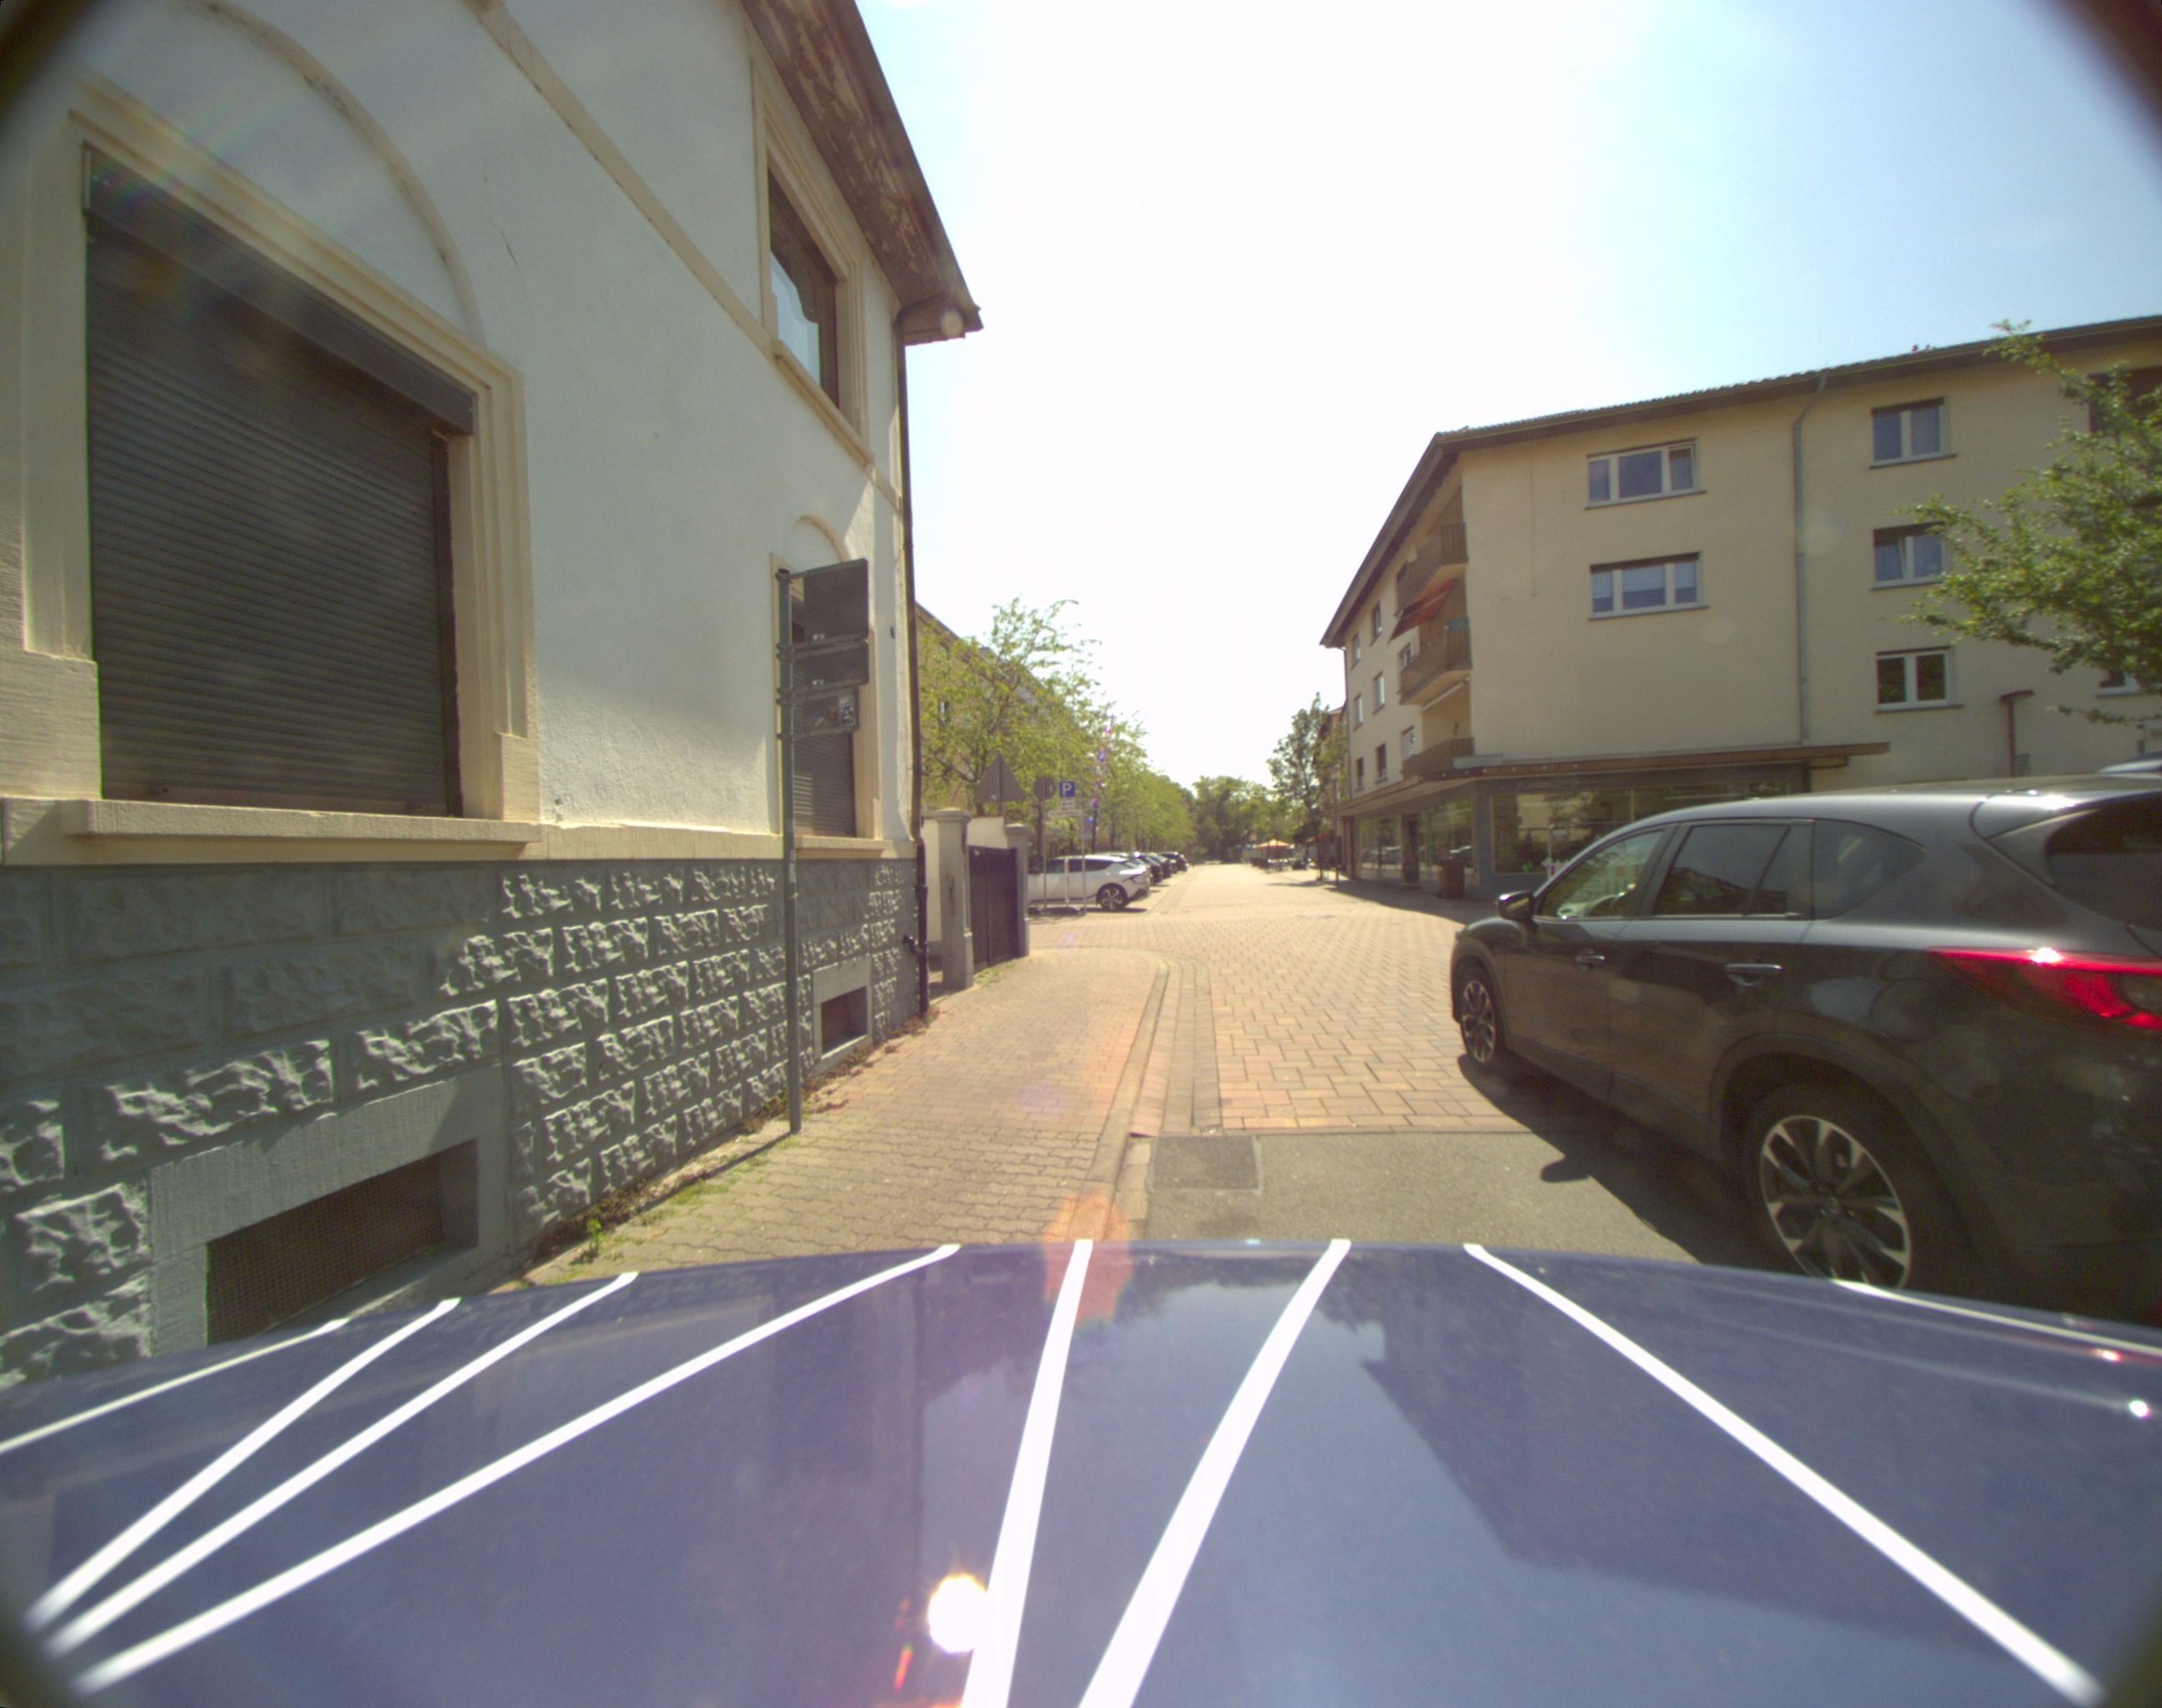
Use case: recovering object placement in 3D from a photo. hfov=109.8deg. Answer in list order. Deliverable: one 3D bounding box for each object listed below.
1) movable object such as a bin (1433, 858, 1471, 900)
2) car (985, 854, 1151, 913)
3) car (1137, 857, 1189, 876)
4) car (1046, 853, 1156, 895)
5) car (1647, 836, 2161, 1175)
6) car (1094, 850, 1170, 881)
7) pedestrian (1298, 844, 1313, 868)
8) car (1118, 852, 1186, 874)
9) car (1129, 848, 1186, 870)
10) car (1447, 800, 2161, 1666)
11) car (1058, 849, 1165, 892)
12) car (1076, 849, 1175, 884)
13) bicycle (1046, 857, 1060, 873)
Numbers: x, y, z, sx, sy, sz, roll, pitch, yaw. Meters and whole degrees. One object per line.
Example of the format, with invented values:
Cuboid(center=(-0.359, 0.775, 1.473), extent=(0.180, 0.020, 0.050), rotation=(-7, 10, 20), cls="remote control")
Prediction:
Cuboid(center=(9.906, 0.658, 20.320), extent=(0.656, 1.064, 0.664), rotation=(-3, 0, 3), cls="movable object such as a bin")
Cuboid(center=(-0.303, 0.813, 21.596), extent=(4.448, 1.566, 1.790), rotation=(0, 0, 10), cls="car")
Cuboid(center=(7.561, 1.155, 69.653), extent=(4.582, 1.534, 1.808), rotation=(-3, 0, 10), cls="car")
Cuboid(center=(0.808, 0.736, 28.984), extent=(3.951, 1.525, 1.825), rotation=(0, 1, 9), cls="car")
Cuboid(center=(5.825, 0.663, 4.908), extent=(1.706, 1.488, 3.859), rotation=(-2, 0, 6), cls="car")
Cuboid(center=(2.829, 0.620, 41.582), extent=(4.034, 1.603, 1.682), rotation=(0, 1, 9), cls="car")
Cuboid(center=(17.537, 0.169, 59.348), extent=(0.872, 1.770, 0.758), rotation=(-3, 1, -40), cls="pedestrian")
Cuboid(center=(4.870, 0.633, 52.534), extent=(4.387, 1.455, 1.889), rotation=(-1, 0, -9), cls="car")
Cuboid(center=(5.919, 0.377, 58.390), extent=(4.251, 1.608, 1.758), rotation=(-1, 0, 9), cls="car")
Cuboid(center=(3.251, 0.687, 3.200), extent=(1.885, 1.658, 4.156), rotation=(-2, 0, 8), cls="car")
Cuboid(center=(1.320, 0.680, 31.715), extent=(4.287, 1.671, 2.002), rotation=(-1, 0, 8), cls="car")
Cuboid(center=(2.184, 0.569, 36.767), extent=(4.515, 1.579, 1.852), rotation=(1, 1, 12), cls="car")
Cuboid(center=(-2.156, 0.831, 58.289), extent=(0.642, 1.075, 1.867), rotation=(-3, 1, 10), cls="bicycle")
